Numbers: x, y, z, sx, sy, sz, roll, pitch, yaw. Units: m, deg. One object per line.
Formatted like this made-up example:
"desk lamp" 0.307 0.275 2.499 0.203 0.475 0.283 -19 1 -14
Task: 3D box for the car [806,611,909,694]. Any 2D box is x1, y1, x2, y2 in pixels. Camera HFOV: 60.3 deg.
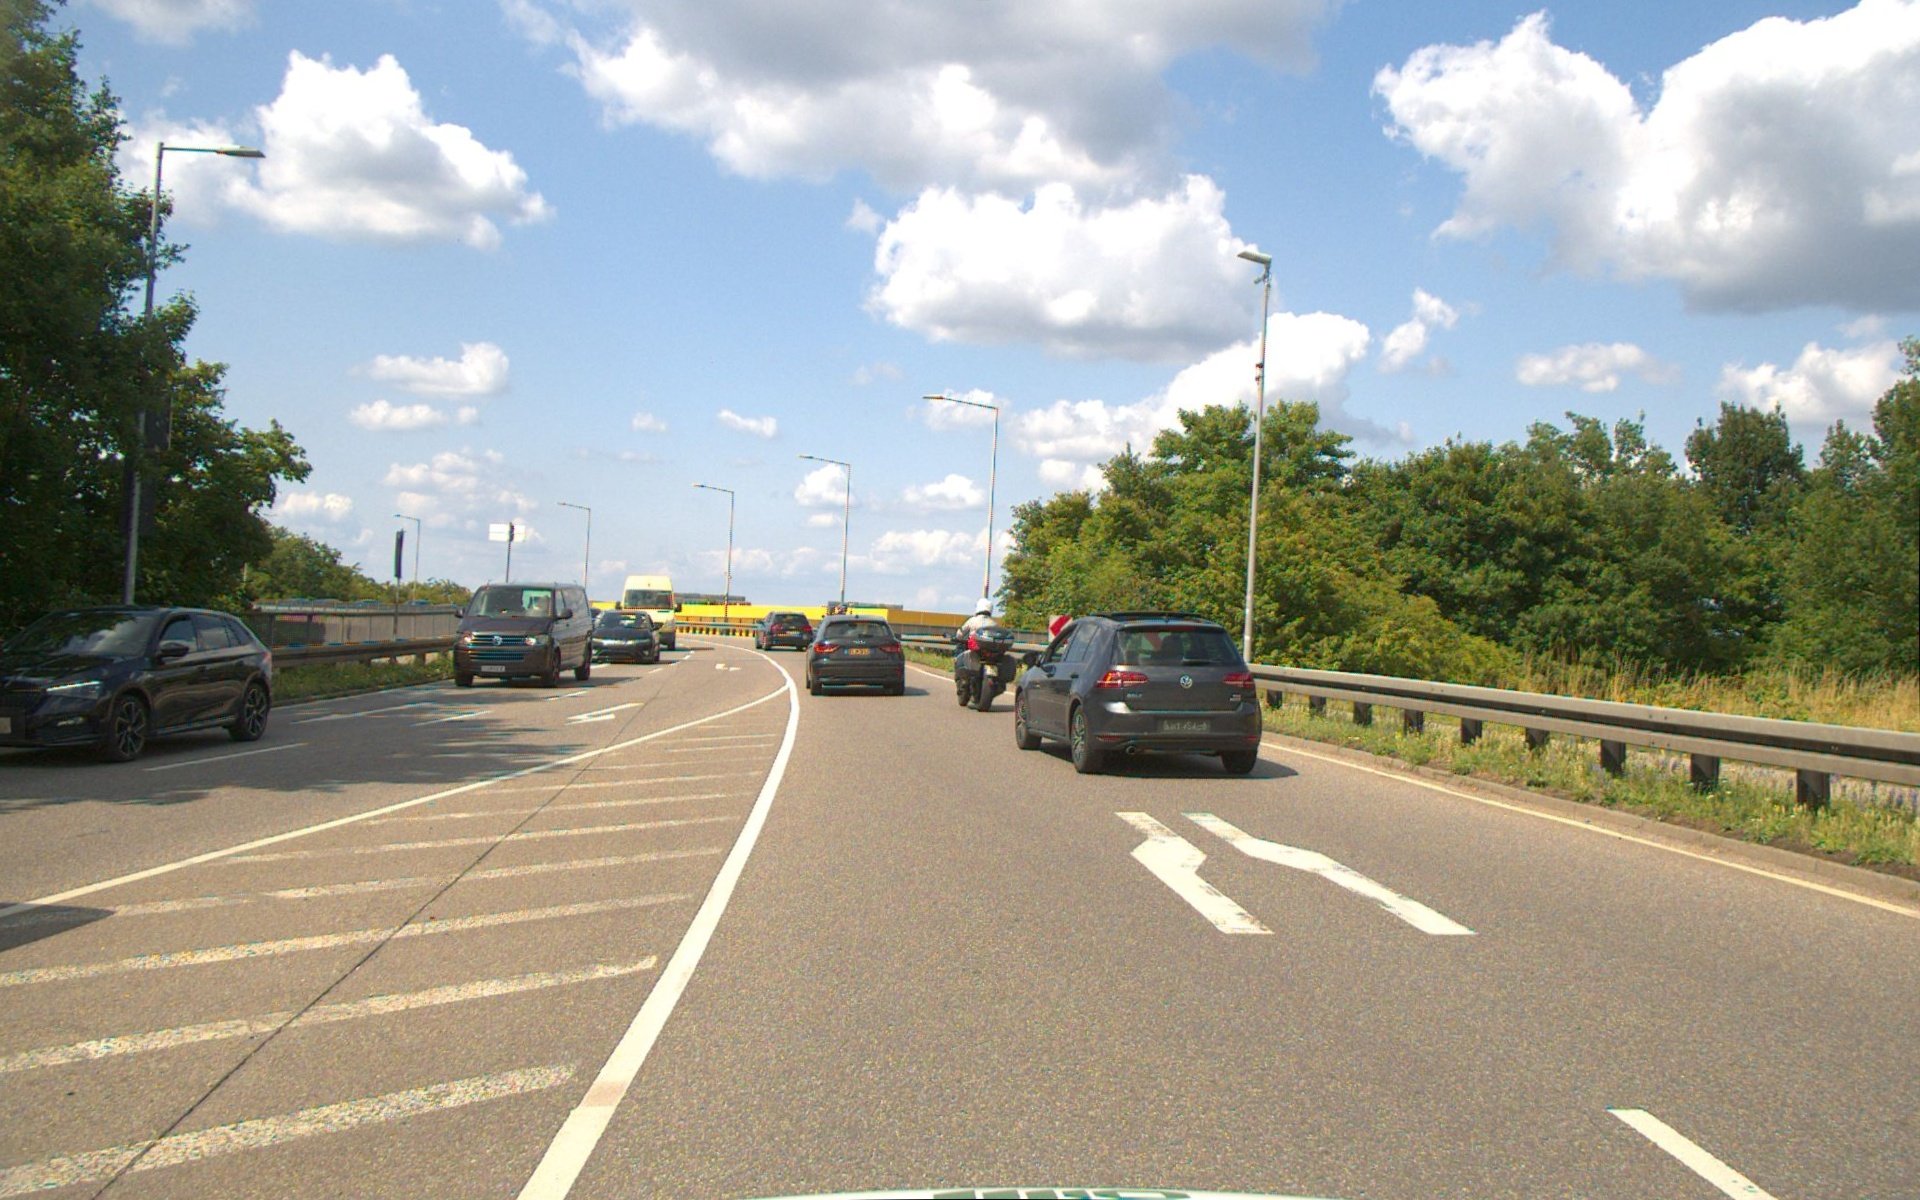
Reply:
"car" -1.946 0.958 30.522 1.650 1.412 3.732 1 -2 -7

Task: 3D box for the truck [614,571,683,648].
"truck" -11.440 0.339 60.466 1.961 2.667 6.077 0 0 -16

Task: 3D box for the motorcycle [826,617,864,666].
"motorcycle" -3.138 1.106 44.855 0.870 1.269 2.395 2 -1 -7

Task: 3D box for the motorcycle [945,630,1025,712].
"motorcycle" 0.355 1.059 25.299 0.774 1.152 2.394 2 -1 -9

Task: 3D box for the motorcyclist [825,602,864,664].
"motorcyclist" -3.142 0.881 44.798 0.947 1.624 1.123 2 -1 -7

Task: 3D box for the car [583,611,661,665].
"car" -9.390 1.029 46.212 1.764 1.414 4.001 1 0 -6

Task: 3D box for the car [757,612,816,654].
"car" -6.566 1.219 62.312 1.615 1.505 3.856 2 -1 -15

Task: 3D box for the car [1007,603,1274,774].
"car" 1.680 0.825 16.663 1.613 1.505 3.862 1 -1 -10

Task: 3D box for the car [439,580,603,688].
"car" -8.523 0.633 32.598 1.953 1.947 5.131 0 0 -1

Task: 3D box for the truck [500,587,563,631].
"truck" -25.739 0.536 99.119 1.974 2.551 5.882 1 0 -32

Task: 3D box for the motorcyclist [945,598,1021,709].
"motorcyclist" 0.343 0.818 25.468 0.948 1.649 1.122 2 -1 -10

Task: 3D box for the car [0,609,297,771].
"car" -8.526 0.817 16.865 1.601 1.434 4.340 0 -1 3
